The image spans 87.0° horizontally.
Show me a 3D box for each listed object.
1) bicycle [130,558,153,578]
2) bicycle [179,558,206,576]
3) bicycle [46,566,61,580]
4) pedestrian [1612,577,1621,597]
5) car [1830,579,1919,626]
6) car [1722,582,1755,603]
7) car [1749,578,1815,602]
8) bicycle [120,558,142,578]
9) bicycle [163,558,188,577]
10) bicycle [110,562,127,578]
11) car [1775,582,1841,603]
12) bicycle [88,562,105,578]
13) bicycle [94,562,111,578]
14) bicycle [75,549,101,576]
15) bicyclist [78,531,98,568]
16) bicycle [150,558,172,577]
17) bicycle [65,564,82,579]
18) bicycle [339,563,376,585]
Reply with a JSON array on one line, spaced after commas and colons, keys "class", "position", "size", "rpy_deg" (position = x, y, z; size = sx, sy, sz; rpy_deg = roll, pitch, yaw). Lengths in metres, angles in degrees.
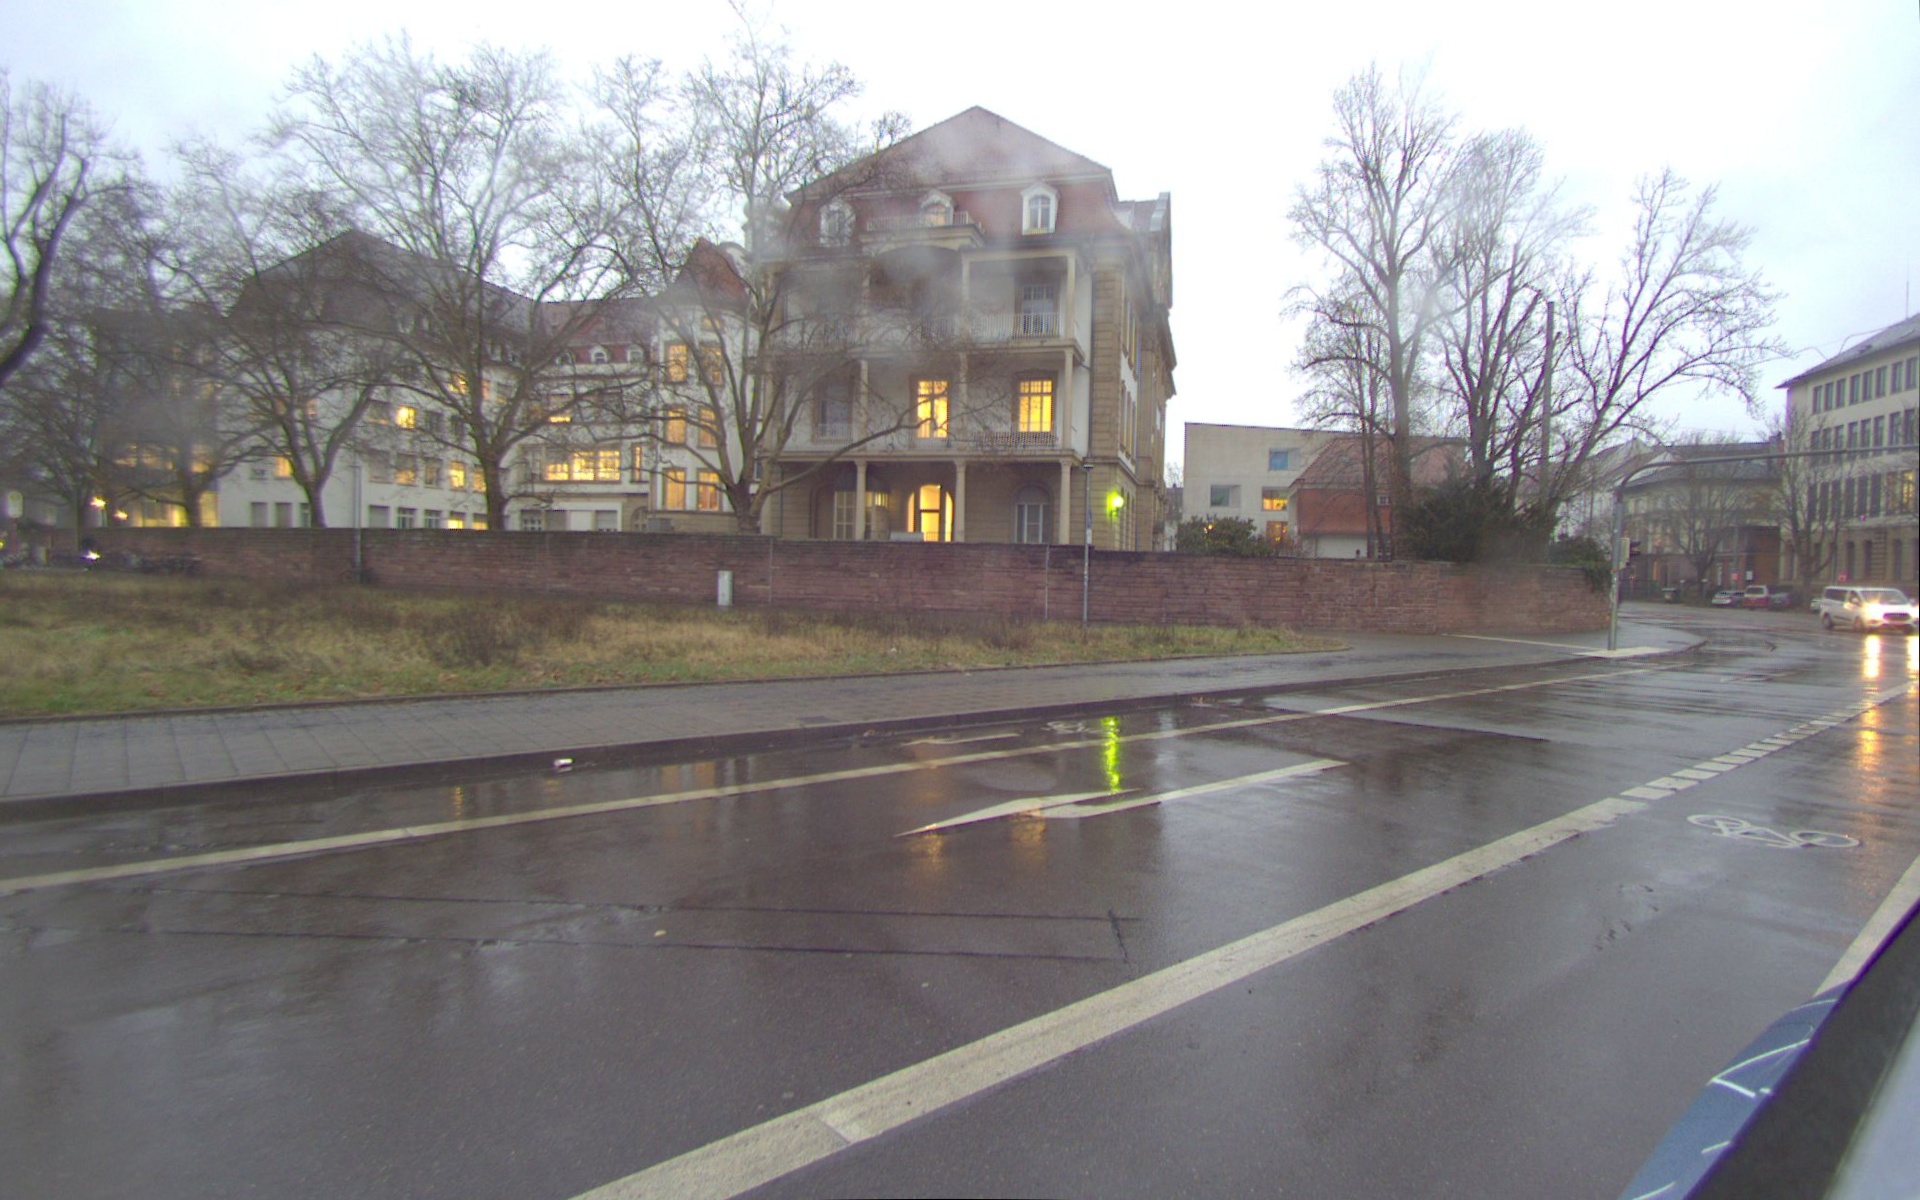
[{"class": "bicycle", "position": [-38.628, -1.506, 47.770], "size": [1.519, 0.869, 0.389], "rpy_deg": [0, 0, 33]}, {"class": "bicycle", "position": [-34.212, -1.468, 45.113], "size": [1.399, 0.796, 0.355], "rpy_deg": [0, 0, 26]}, {"class": "bicycle", "position": [-51.611, -1.545, 57.594], "size": [1.522, 0.796, 0.389], "rpy_deg": [0, 0, 38]}, {"class": "pedestrian", "position": [69.152, -1.386, 106.571], "size": [0.539, 2.038, 0.473], "rpy_deg": [2, 2, 16]}, {"class": "car", "position": [41.842, 0.084, 45.928], "size": [1.975, 2.039, 4.859], "rpy_deg": [0, 0, 20]}, {"class": "car", "position": [66.476, -0.650, 86.398], "size": [1.992, 1.690, 3.940], "rpy_deg": [0, 1, 42]}, {"class": "car", "position": [64.977, -0.796, 80.033], "size": [3.916, 1.924, 2.052], "rpy_deg": [0, 0, -13]}, {"class": "bicycle", "position": [-39.910, -1.538, 48.724], "size": [1.519, 0.928, 0.389], "rpy_deg": [0, 0, 33]}, {"class": "bicycle", "position": [-35.552, -1.468, 45.862], "size": [1.519, 0.796, 0.389], "rpy_deg": [0, 0, 33]}, {"class": "bicycle", "position": [-41.476, -1.475, 49.878], "size": [1.599, 0.796, 0.388], "rpy_deg": [0, 0, 41]}, {"class": "car", "position": [64.696, -0.591, 77.236], "size": [3.916, 1.570, 1.805], "rpy_deg": [0, 0, -13]}, {"class": "bicycle", "position": [-44.181, -1.528, 51.770], "size": [1.522, 0.796, 0.389], "rpy_deg": [0, 0, 38]}, {"class": "bicycle", "position": [-43.133, -1.494, 50.899], "size": [1.522, 0.796, 0.389], "rpy_deg": [0, 0, 38]}, {"class": "bicycle", "position": [-40.029, -1.710, 46.447], "size": [1.670, 1.182, 0.603], "rpy_deg": [0, 0, 37]}, {"class": "bicyclist", "position": [-40.036, -2.302, 46.456], "size": [0.450, 1.662, 0.603], "rpy_deg": [0, 0, 37]}, {"class": "bicycle", "position": [-37.032, -1.496, 46.888], "size": [1.480, 0.849, 0.346], "rpy_deg": [0, 0, 32]}, {"class": "bicycle", "position": [-47.898, -1.537, 54.676], "size": [1.522, 0.796, 0.389], "rpy_deg": [0, 0, 38]}, {"class": "bicycle", "position": [-23.386, -0.988, 39.275], "size": [1.366, 0.835, 0.392], "rpy_deg": [0, 0, 14]}]
